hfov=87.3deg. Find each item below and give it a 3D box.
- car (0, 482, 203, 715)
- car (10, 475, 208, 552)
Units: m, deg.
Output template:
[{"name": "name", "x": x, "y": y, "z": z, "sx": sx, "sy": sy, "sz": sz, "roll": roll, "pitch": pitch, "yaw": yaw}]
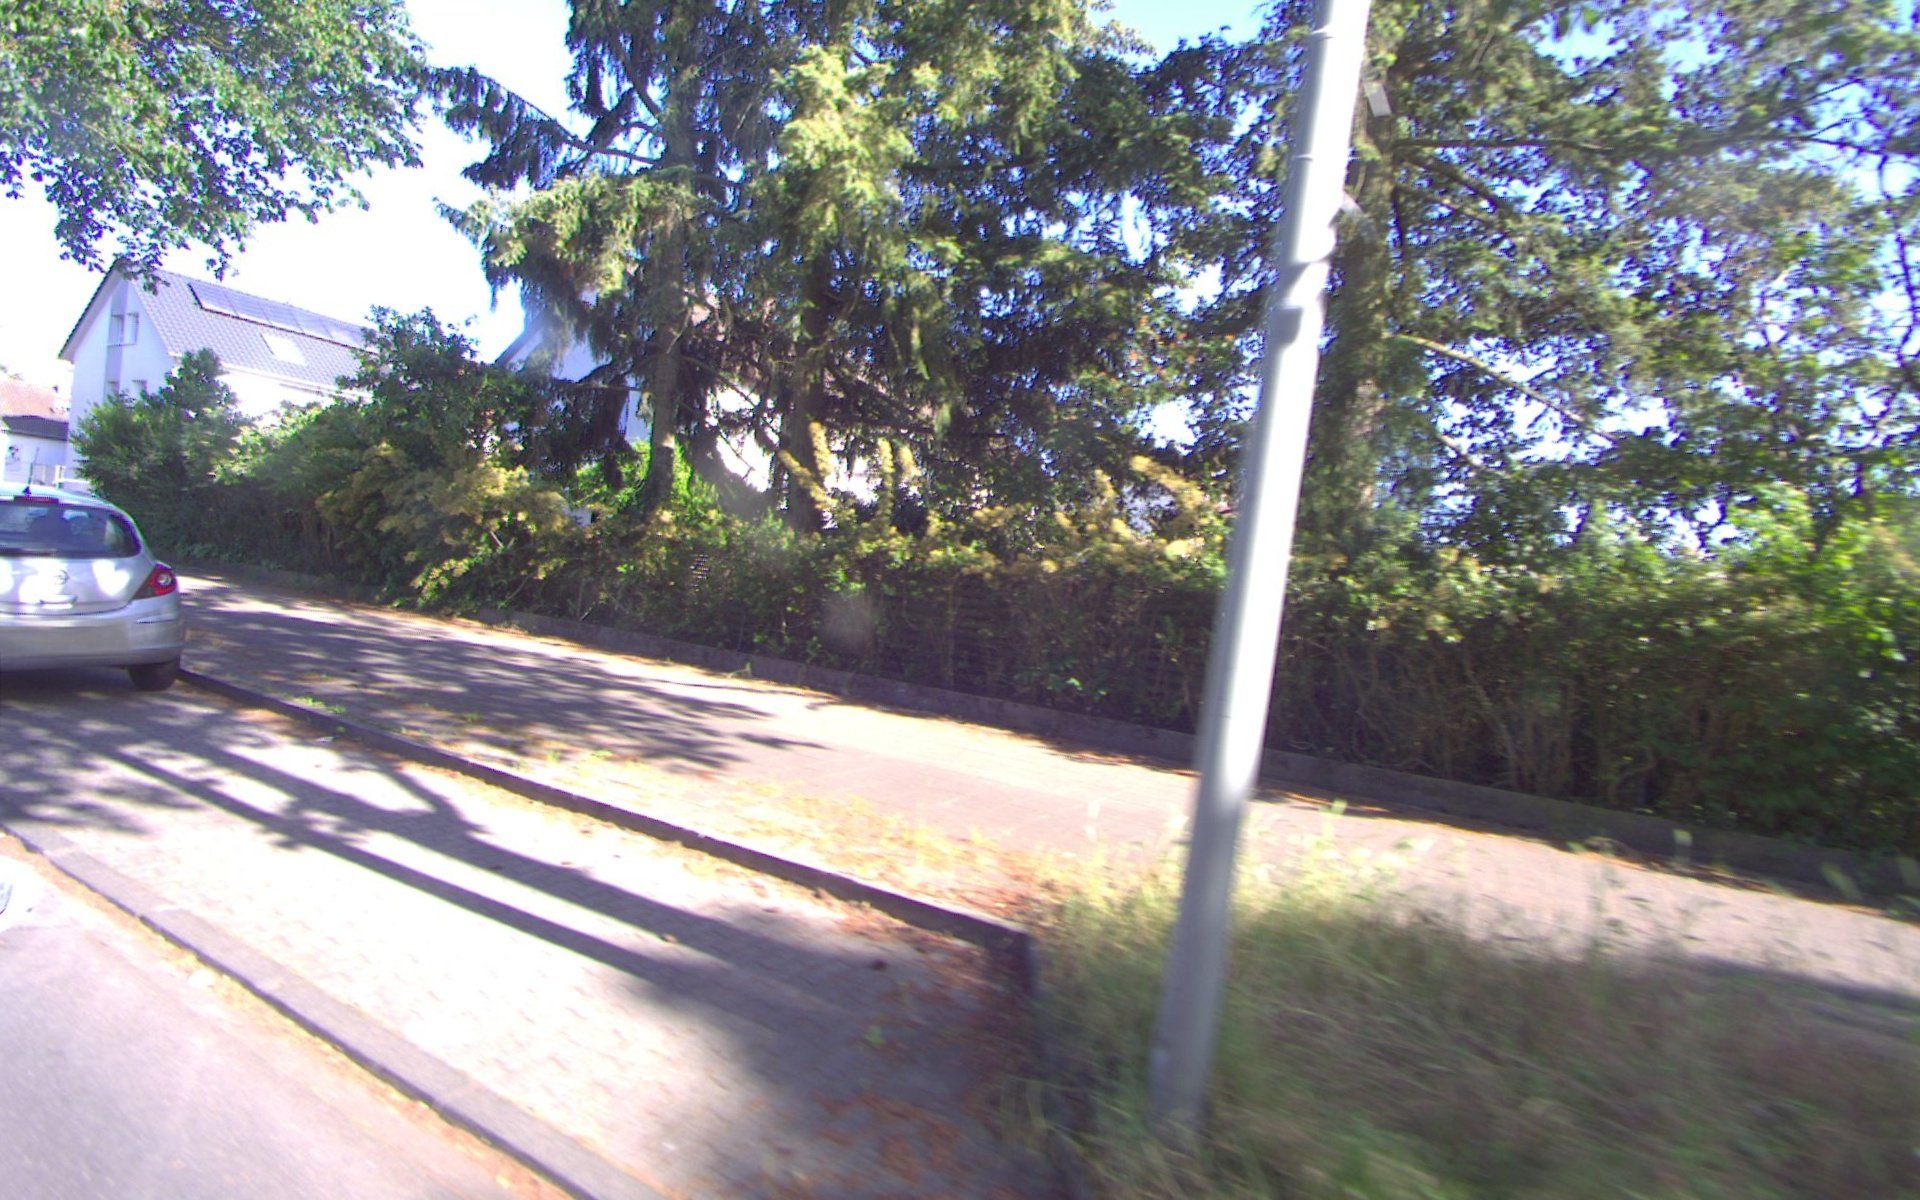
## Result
[{"name": "car", "x": -7.761, "y": -0.148, "z": 7.870, "sx": 3.941, "sy": 1.530, "sz": 1.991, "roll": 6, "pitch": 1, "yaw": 39}, {"name": "car", "x": -24.729, "y": -2.461, "z": 29.393, "sx": 1.745, "sy": 1.661, "sz": 3.995, "roll": 7, "pitch": 1, "yaw": 25}]
